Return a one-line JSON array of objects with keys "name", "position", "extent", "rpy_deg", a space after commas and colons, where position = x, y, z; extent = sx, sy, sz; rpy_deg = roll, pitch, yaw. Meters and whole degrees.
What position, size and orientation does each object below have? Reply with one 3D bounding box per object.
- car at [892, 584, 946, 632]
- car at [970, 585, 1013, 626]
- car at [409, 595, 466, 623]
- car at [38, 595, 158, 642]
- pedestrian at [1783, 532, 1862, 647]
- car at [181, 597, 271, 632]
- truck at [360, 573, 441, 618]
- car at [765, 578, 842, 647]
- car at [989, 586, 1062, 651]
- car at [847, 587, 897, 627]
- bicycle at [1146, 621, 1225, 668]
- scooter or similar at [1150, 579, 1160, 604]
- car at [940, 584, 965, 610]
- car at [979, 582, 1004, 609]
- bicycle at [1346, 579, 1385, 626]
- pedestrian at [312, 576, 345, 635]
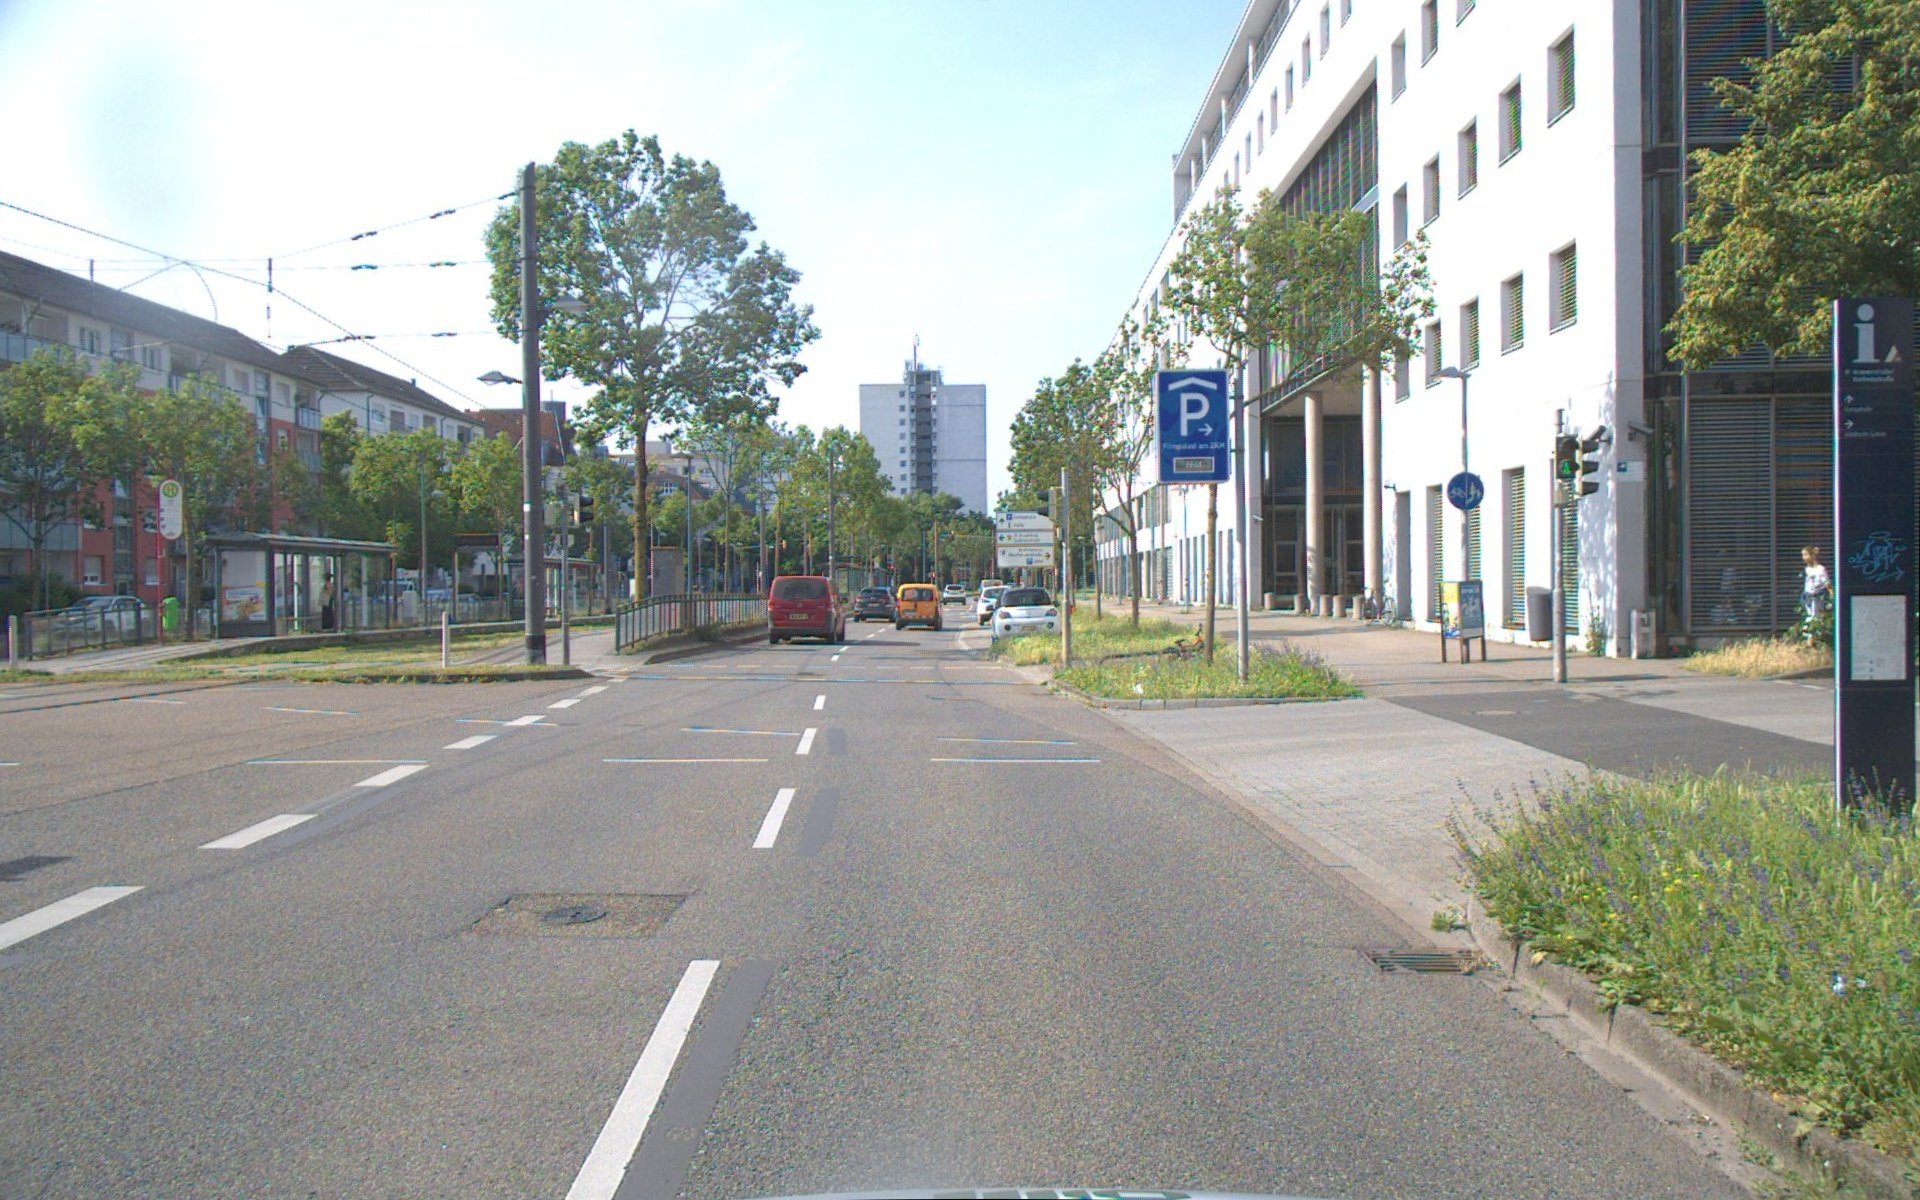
[{"name": "car", "position": [-1.533, 0.278, 63.024], "extent": [1.837, 1.726, 3.974], "rpy_deg": [0, 0, 1]}, {"name": "car", "position": [1.292, 0.201, 68.132], "extent": [1.654, 1.552, 3.851], "rpy_deg": [-3, 0, 1]}, {"name": "car", "position": [-30.083, 0.472, 95.355], "extent": [1.940, 1.540, 4.281], "rpy_deg": [1, 0, 0]}, {"name": "car", "position": [-31.003, 0.622, 59.632], "extent": [1.940, 1.583, 4.537], "rpy_deg": [1, 0, 0]}, {"name": "pedestrian", "position": [12.654, -0.156, 24.277], "extent": [0.761, 1.644, 0.713], "rpy_deg": [-1, 0, -1]}, {"name": "car", "position": [-30.696, 0.583, 69.315], "extent": [1.940, 1.384, 4.069], "rpy_deg": [1, 0, 0]}, {"name": "truck", "position": [-33.493, -0.273, 99.285], "extent": [2.317, 2.607, 7.241], "rpy_deg": [1, 0, 0]}, {"name": "car", "position": [-4.447, 0.323, 47.390], "extent": [1.836, 1.886, 4.000], "rpy_deg": [0, 0, -1]}, {"name": "car", "position": [1.618, 0.433, 42.177], "extent": [1.685, 1.545, 3.781], "rpy_deg": [-1, 1, 0]}, {"name": "car", "position": [-3.892, 0.302, 74.062], "extent": [1.952, 1.736, 4.000], "rpy_deg": [-1, 0, 1]}, {"name": "bicycle", "position": [3.812, 0.748, 28.001], "extent": [1.244, 0.643, 0.521], "rpy_deg": [-7, -1, 8]}, {"name": "scooter or similar", "position": [9.952, -0.441, 84.433], "extent": [0.452, 1.234, 1.255], "rpy_deg": [-2, 1, 7]}, {"name": "car", "position": [-0.586, -0.245, 130.904], "extent": [1.953, 2.049, 4.000], "rpy_deg": [-1, 0, 0]}, {"name": "car", "position": [2.473, -0.356, 132.087], "extent": [1.952, 2.049, 4.000], "rpy_deg": [-1, 0, 1]}, {"name": "bicycle", "position": [9.939, 0.053, 40.541], "extent": [0.483, 1.105, 1.549], "rpy_deg": [-2, 0, -2]}, {"name": "pedestrian", "position": [-18.301, 0.159, 47.955], "extent": [0.658, 1.682, 0.794], "rpy_deg": [-1, 0, -4]}]
